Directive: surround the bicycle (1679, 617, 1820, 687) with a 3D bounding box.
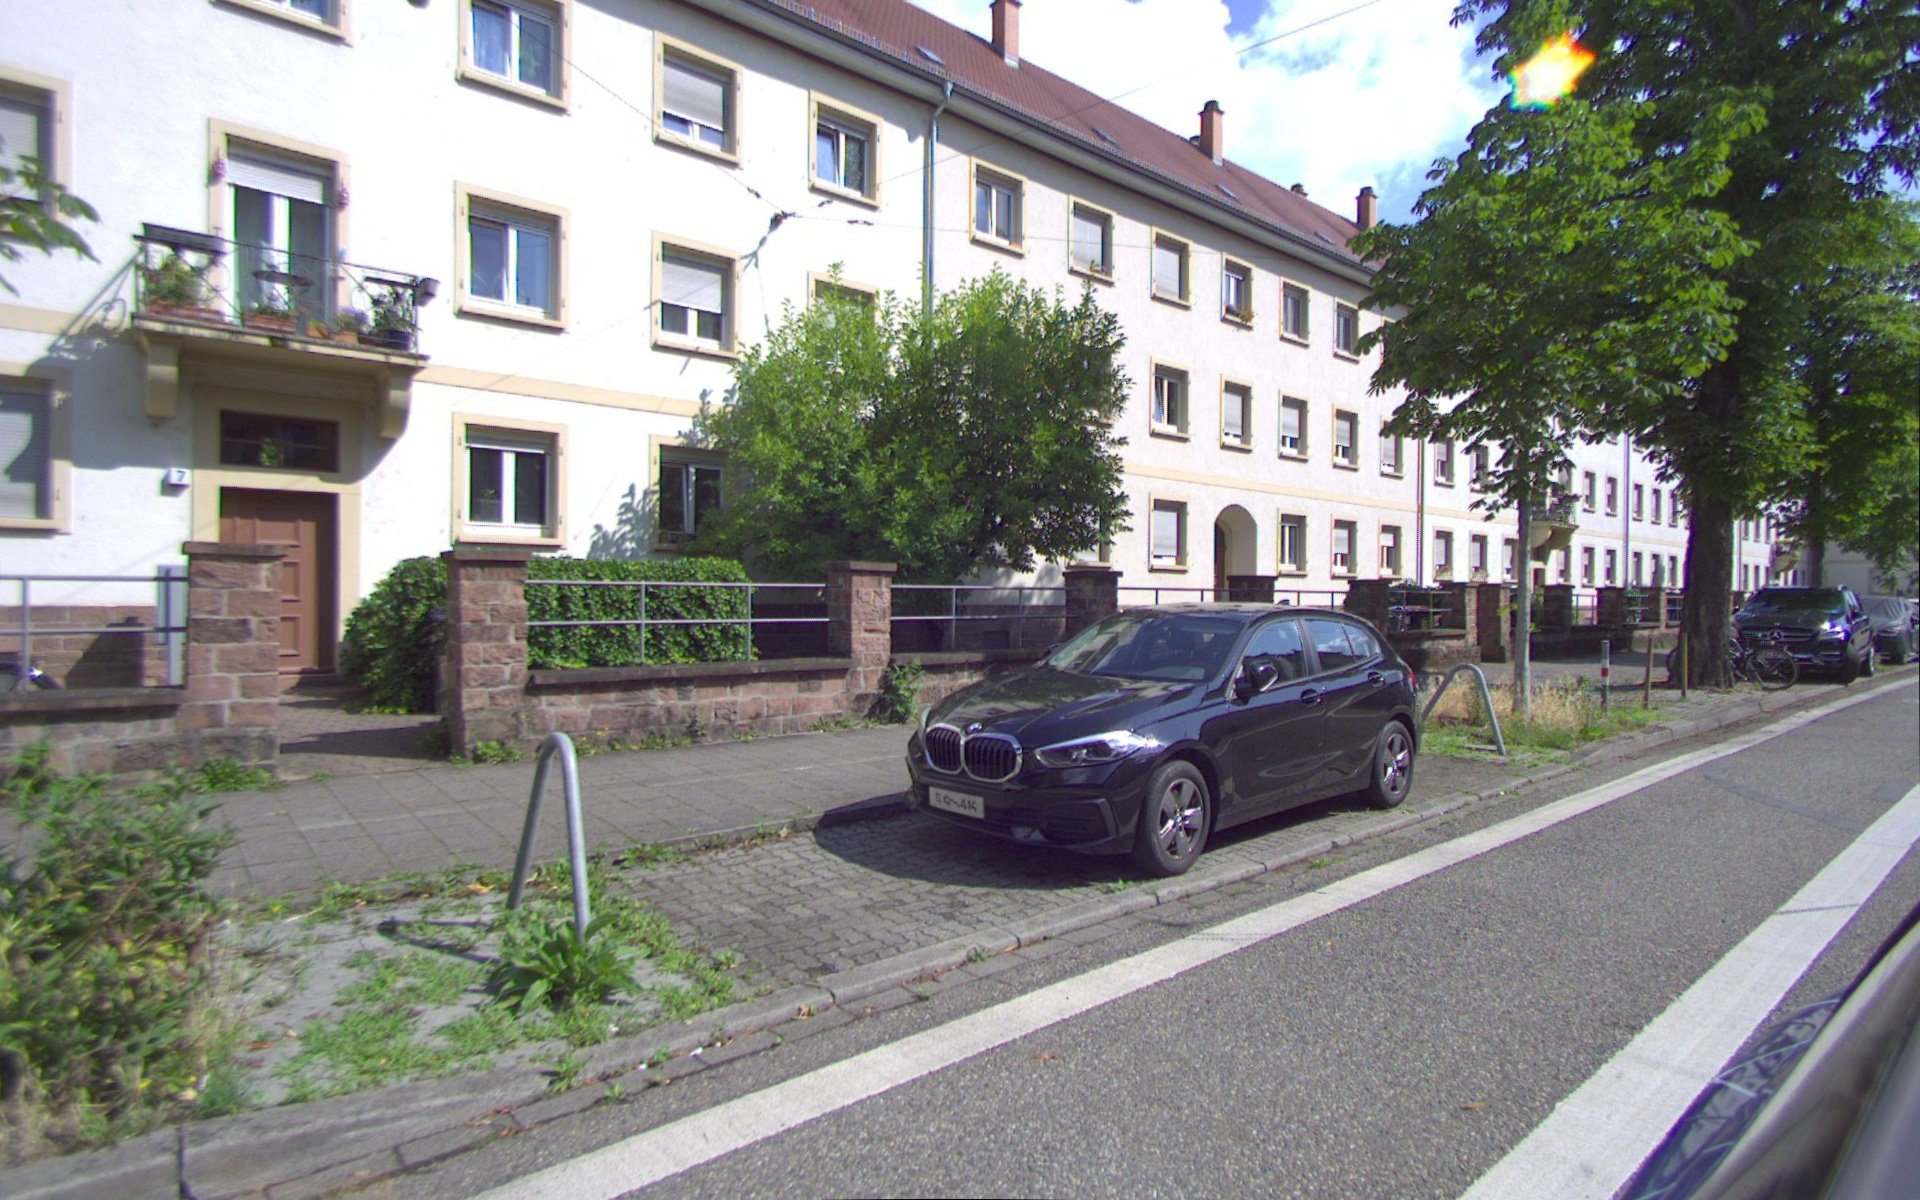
[{"bbox_3d":[12.725,0.809,16.355,0.626,1.020,1.712,0,1,-39],"label":"bicycle"}]

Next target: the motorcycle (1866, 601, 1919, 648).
[{"bbox_3d":[28.565,0.730,30.362,0.735,1.354,2.008,0,0,-44],"label":"motorcycle"}]

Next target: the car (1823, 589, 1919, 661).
[{"bbox_3d":[23.572,0.571,25.716,4.556,1.674,1.866,0,0,-41],"label":"car"}]

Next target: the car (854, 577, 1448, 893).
[{"bbox_3d":[1.482,0.651,6.812,4.123,1.498,1.709,0,-2,-41],"label":"car"}]

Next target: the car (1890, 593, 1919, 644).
[{"bbox_3d":[31.560,0.579,32.727,4.175,1.601,1.745,0,0,-41],"label":"car"}]

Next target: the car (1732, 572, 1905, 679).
[{"bbox_3d":[16.514,0.430,19.384,4.650,1.805,1.830,0,0,-41],"label":"car"}]

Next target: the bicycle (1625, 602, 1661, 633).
[{"bbox_3d":[22.232,0.572,32.934,1.649,0.976,0.538,0,0,-40],"label":"bicycle"}]

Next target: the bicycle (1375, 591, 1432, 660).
[{"bbox_3d":[8.452,0.471,19.283,1.431,1.260,0.305,0,0,-36],"label":"bicycle"}]

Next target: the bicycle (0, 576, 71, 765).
[{"bbox_3d":[-6.812,0.456,6.466,1.673,1.227,0.600,0,0,-40],"label":"bicycle"}]

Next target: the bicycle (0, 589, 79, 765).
[{"bbox_3d":[-7.247,0.536,7.029,1.673,1.227,0.600,0,0,-40],"label":"bicycle"}]
